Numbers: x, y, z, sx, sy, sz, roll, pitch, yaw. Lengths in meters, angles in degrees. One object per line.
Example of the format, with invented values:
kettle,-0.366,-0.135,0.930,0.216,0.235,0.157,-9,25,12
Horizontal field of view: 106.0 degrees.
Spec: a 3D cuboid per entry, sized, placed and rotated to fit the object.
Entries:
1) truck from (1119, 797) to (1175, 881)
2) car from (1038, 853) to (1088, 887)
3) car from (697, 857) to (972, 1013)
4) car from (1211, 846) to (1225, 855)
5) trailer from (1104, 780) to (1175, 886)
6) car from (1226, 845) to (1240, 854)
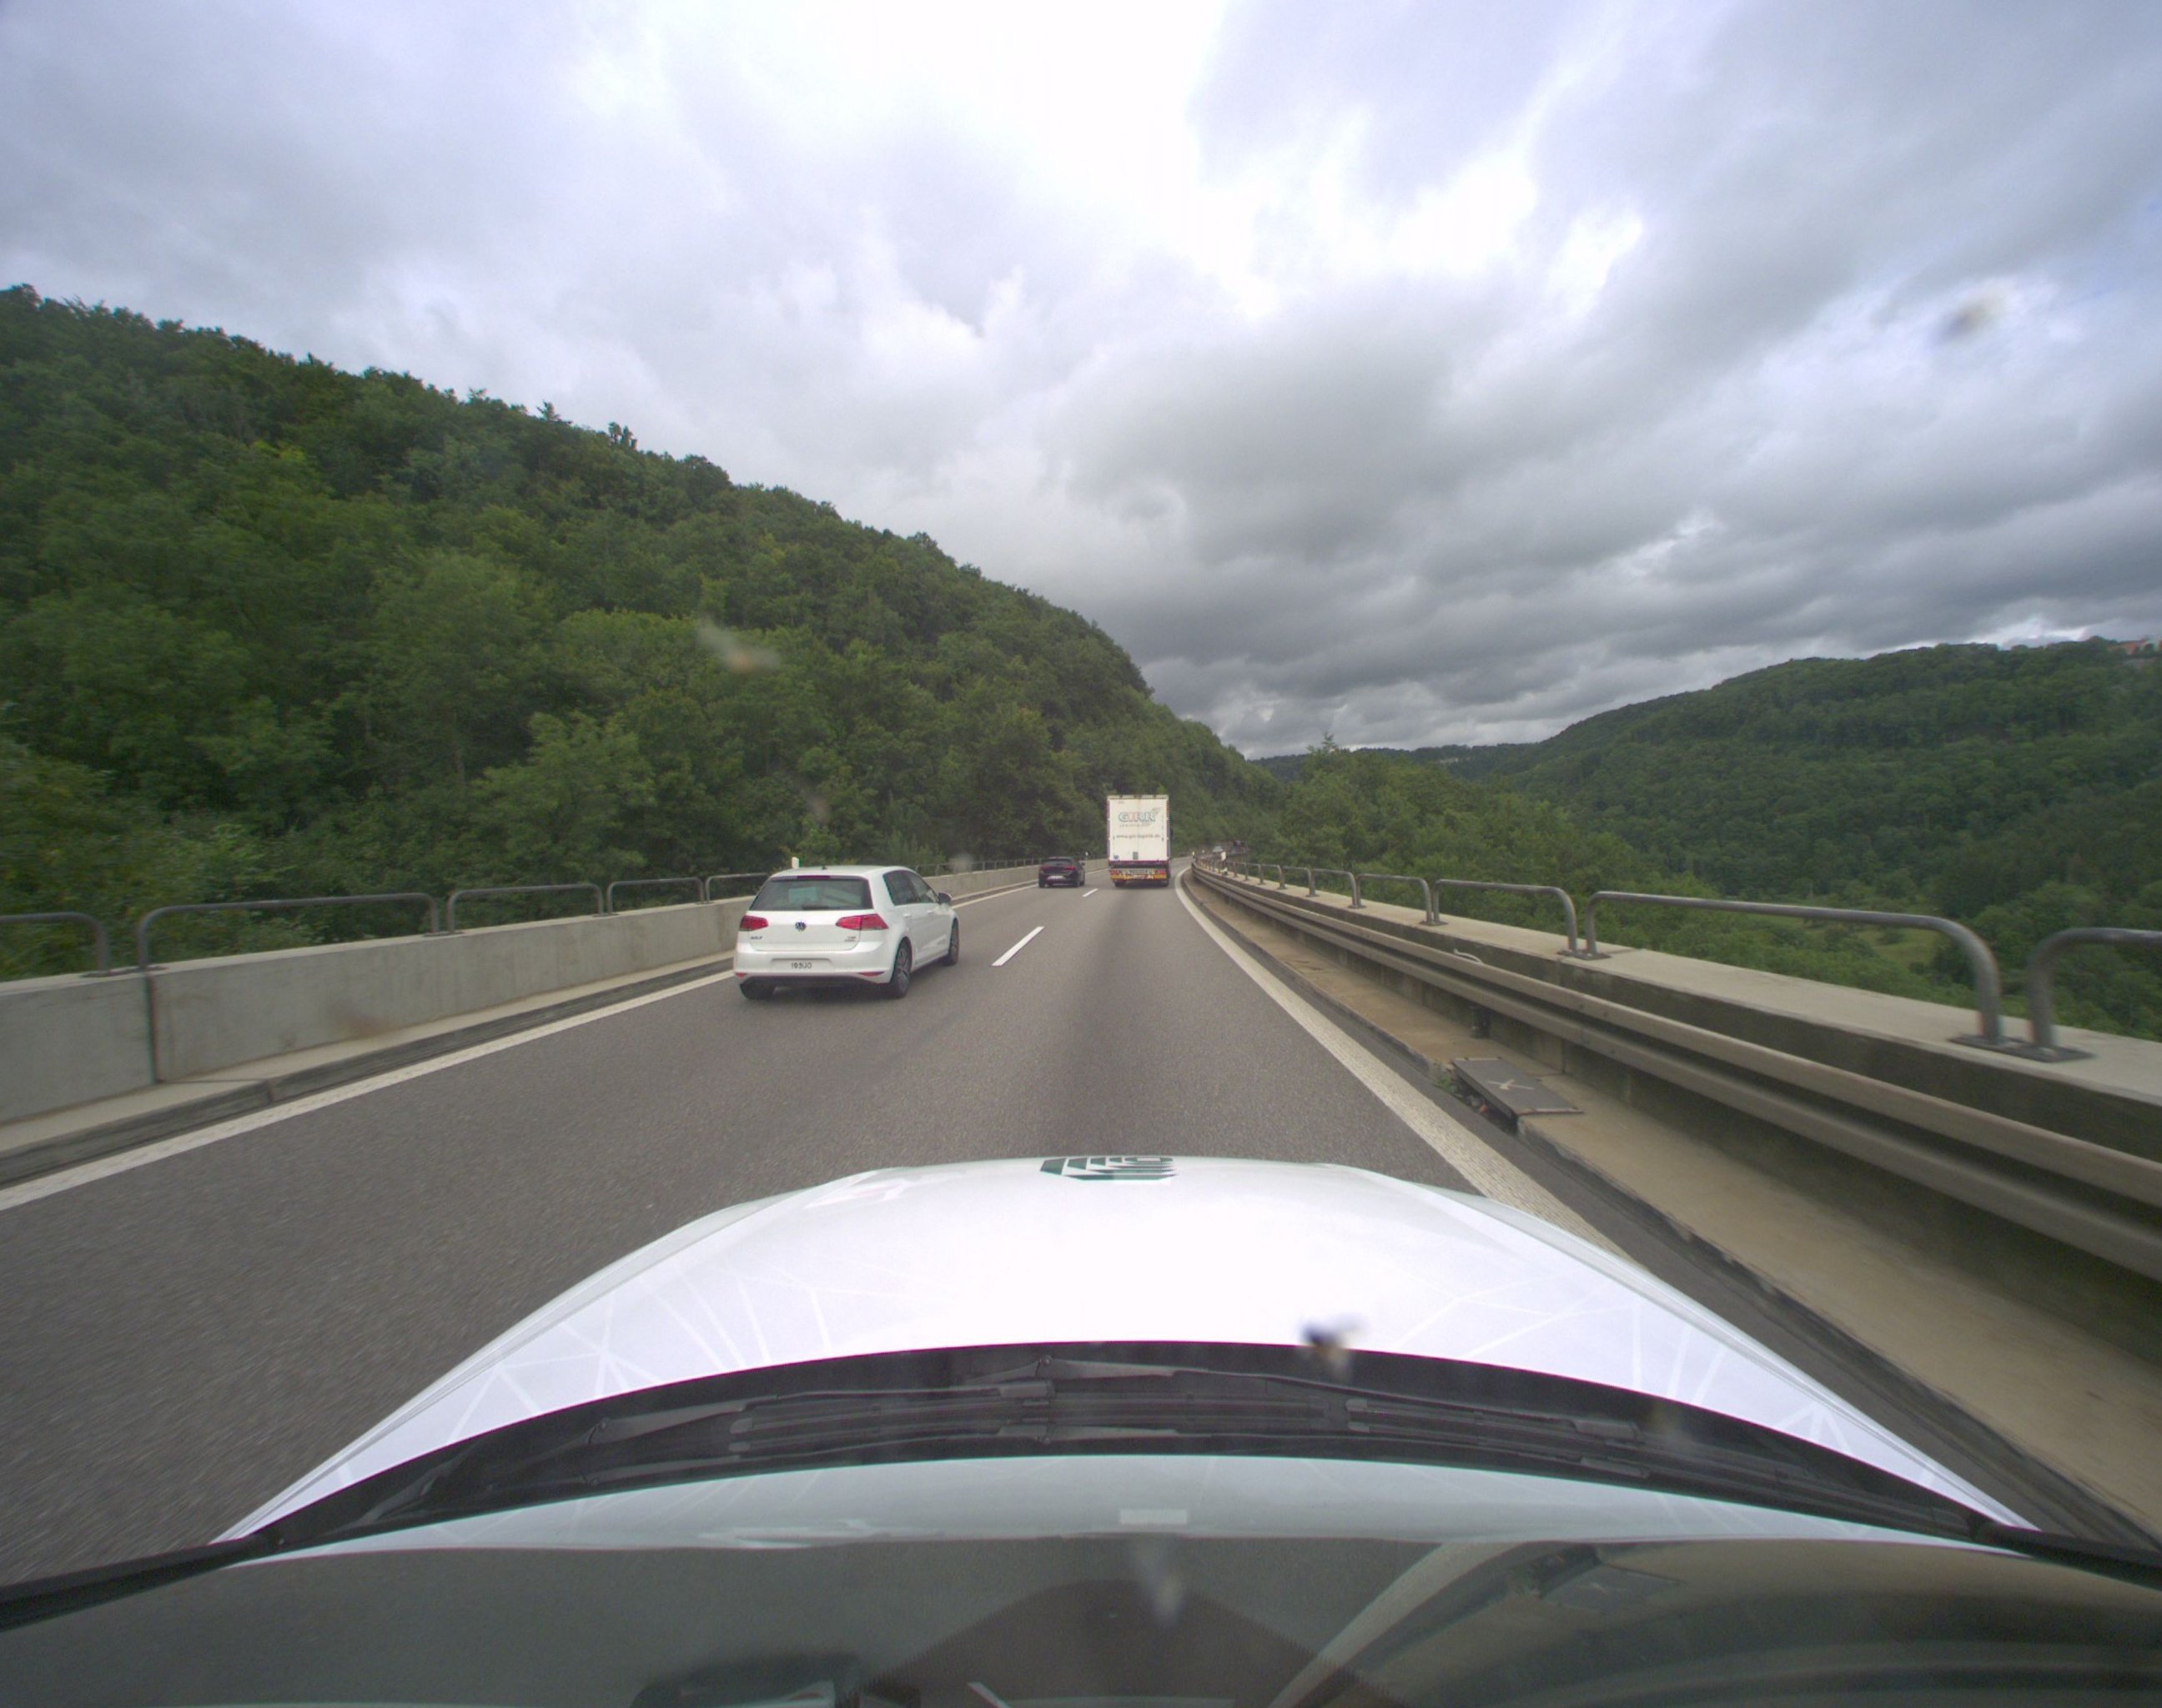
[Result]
truck,3.829,-0.755,46.208,2.799,4.302,6.270,-2,-1,6
car,-0.769,0.723,38.044,1.764,1.461,4.589,-1,0,6
car,-2.717,0.799,10.255,1.837,1.482,4.631,-1,0,3
car,26.112,-0.653,155.052,1.977,1.565,4.019,-2,-1,19
trailer,3.096,-0.806,39.805,2.799,4.302,12.266,-2,-1,6
car,28.580,-0.764,152.666,1.977,1.565,4.019,-2,-1,19
